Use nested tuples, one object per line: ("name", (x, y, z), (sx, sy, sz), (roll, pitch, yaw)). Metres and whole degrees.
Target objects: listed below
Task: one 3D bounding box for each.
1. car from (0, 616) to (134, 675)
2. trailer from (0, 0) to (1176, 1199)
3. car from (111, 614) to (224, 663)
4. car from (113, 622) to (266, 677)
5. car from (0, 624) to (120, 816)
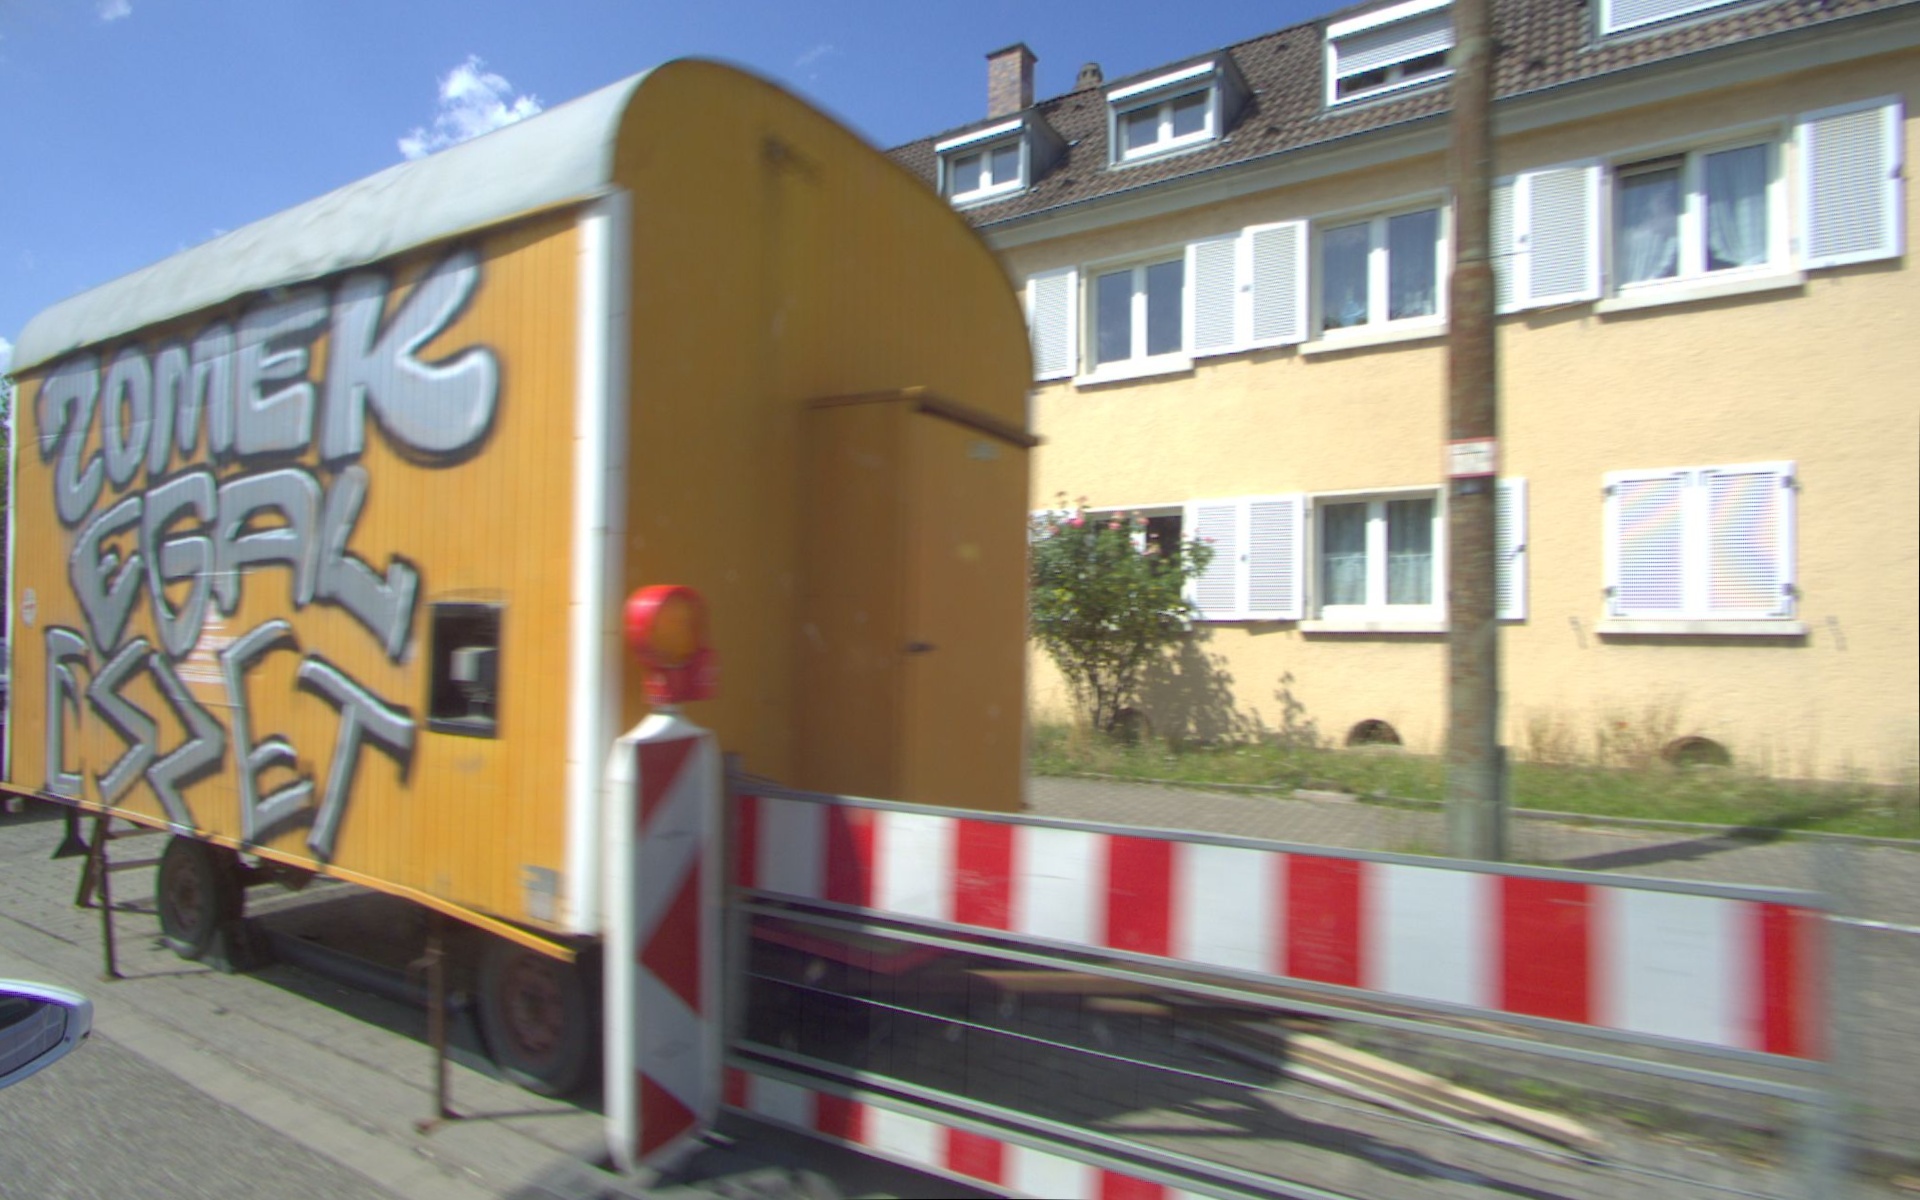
("car", (-22.858, 1.108, 25.209), (4.021, 1.391, 1.637), (0, -2, 25))
("trailer", (-1.885, -0.048, 4.506), (5.007, 3.267, 2.687), (0, -2, 31))
("car", (-27.813, 1.309, 35.113), (4.025, 1.568, 1.634), (0, 1, 29))
("car", (-21.055, 1.313, 27.351), (4.021, 1.391, 1.637), (0, -2, 25))
("car", (-9.256, 0.933, 8.695), (4.386, 1.467, 1.576), (-1, -2, 30))
